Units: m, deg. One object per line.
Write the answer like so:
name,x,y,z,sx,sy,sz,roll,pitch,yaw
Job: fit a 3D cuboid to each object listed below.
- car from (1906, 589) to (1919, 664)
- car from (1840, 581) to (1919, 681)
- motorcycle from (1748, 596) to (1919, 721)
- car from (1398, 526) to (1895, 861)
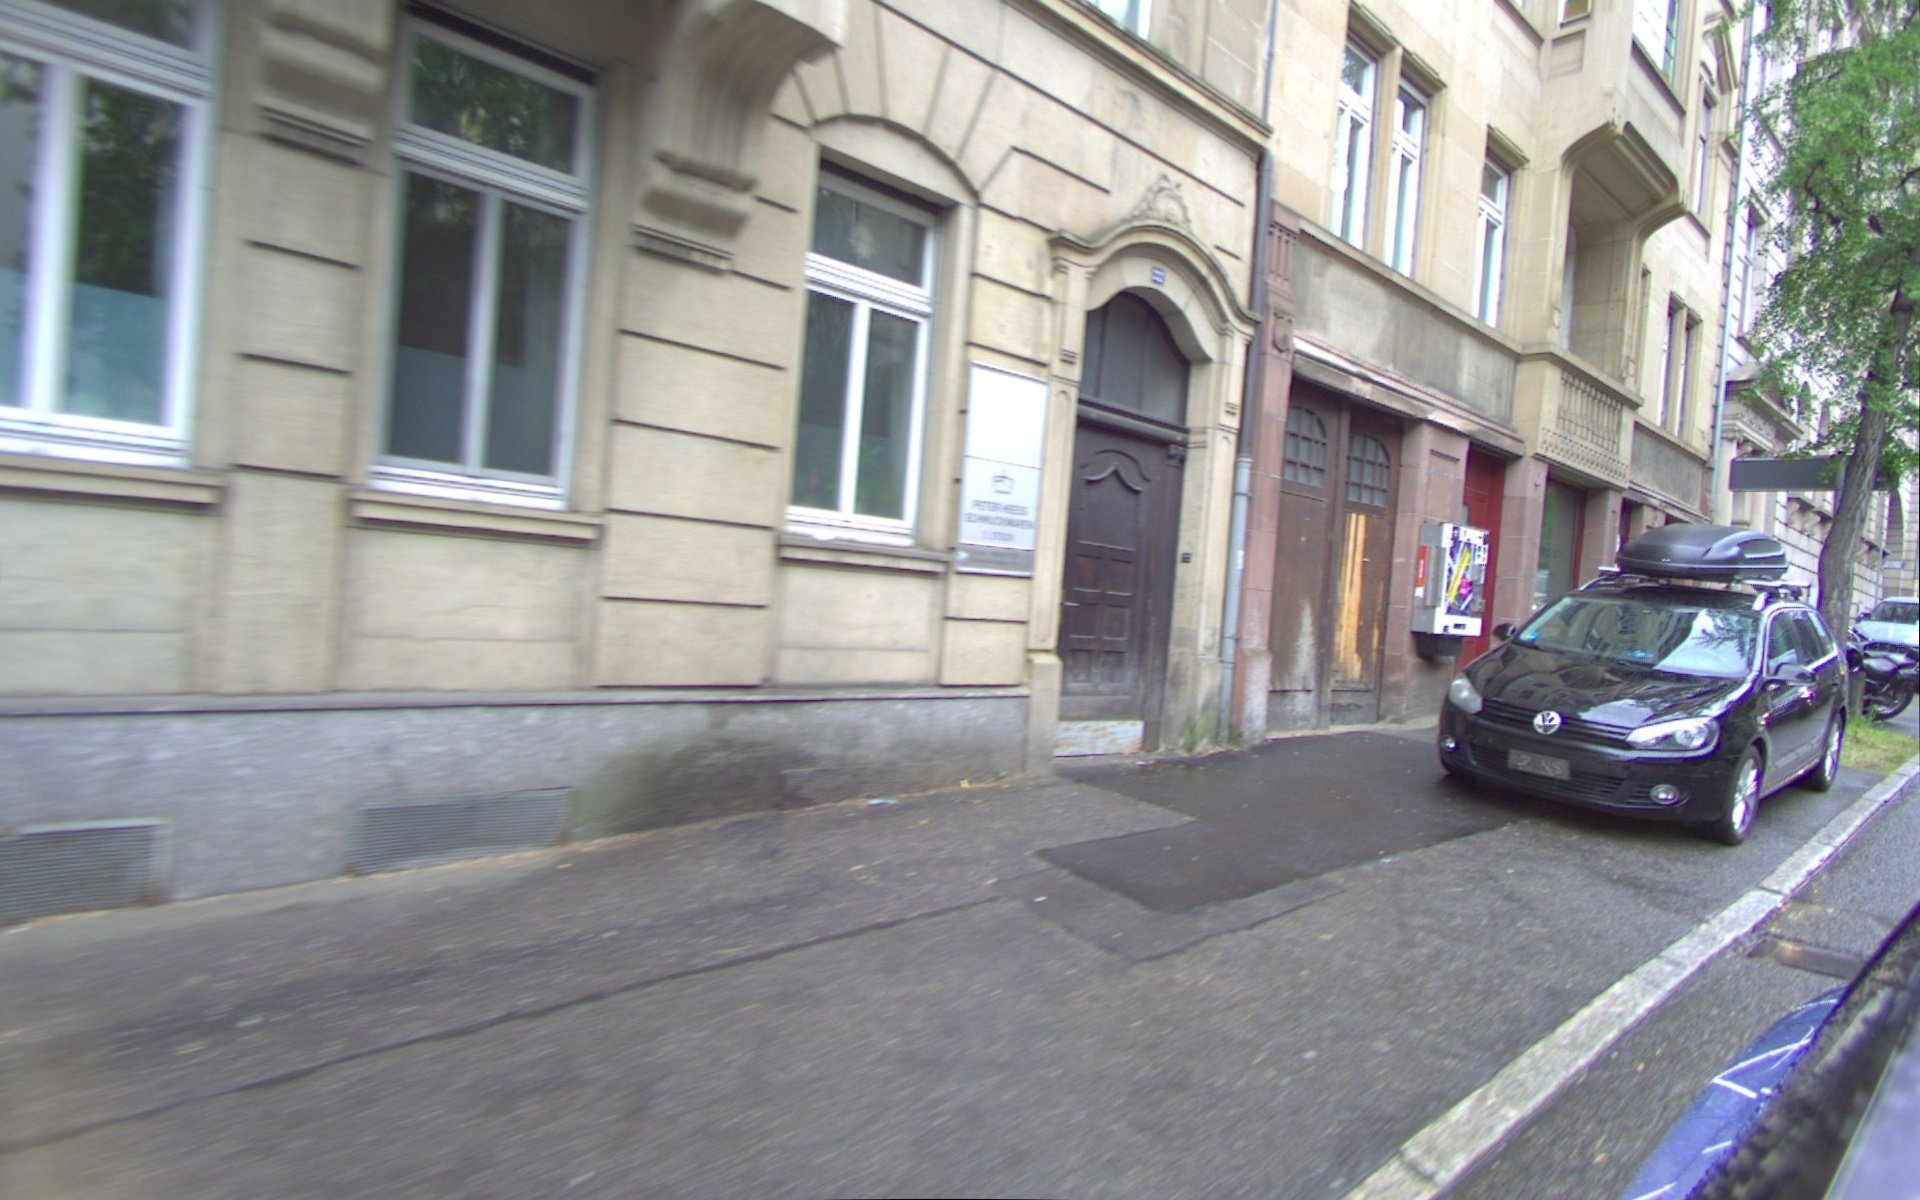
car,20.425,0.557,20.441,3.124,1.467,1.495,0,3,-40
car,16.332,0.512,16.878,3.966,1.469,1.795,0,5,-40
motorcycle,10.466,0.687,11.655,2.233,1.258,0.525,5,3,-1
car,5.067,0.457,7.274,4.025,1.670,1.765,0,6,-40
